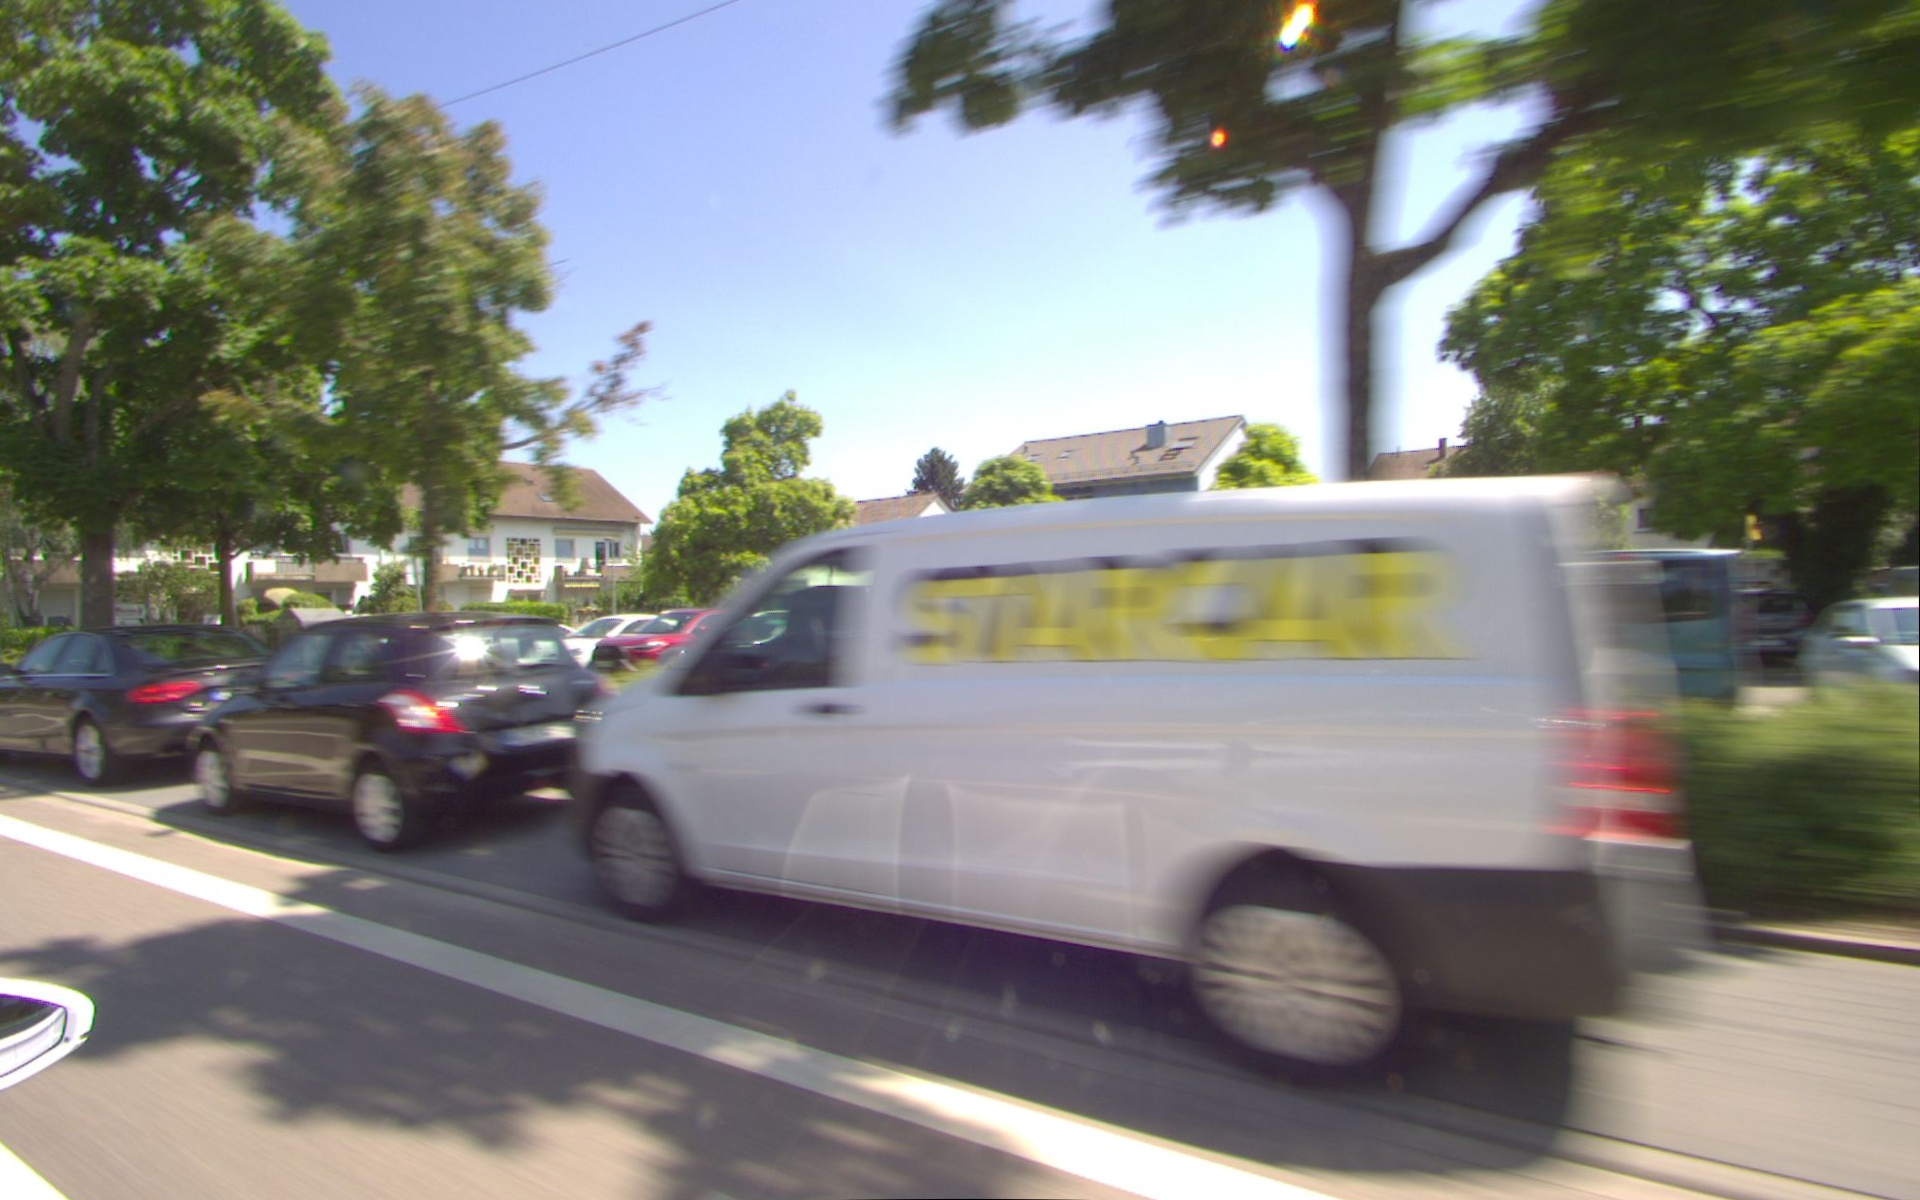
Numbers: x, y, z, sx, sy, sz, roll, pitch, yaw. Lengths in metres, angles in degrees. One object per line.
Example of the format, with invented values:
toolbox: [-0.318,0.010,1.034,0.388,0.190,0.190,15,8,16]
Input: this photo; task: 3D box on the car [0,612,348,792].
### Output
car: [-8.573,0.909,10.402,4.638,1.438,1.709,-1,3,30]

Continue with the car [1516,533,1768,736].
car: [7.824,0.409,11.935,1.924,1.933,4.405,-1,-2,27]

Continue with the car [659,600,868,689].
car: [-3.621,0.829,19.148,1.743,1.509,4.017,-1,-2,30]

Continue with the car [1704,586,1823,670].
car: [17.030,0.529,21.357,1.659,1.567,3.325,-1,2,33]

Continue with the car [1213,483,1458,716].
car: [5.310,0.098,13.594,2.065,2.490,5.481,-1,-2,32]

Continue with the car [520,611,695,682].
car: [-7.683,1.001,22.064,1.658,1.446,3.329,-1,-2,32]

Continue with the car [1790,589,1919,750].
car: [10.102,0.665,10.192,1.700,1.424,3.886,-1,-2,27]

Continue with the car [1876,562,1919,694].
car: [19.546,0.507,19.124,2.065,2.493,5.476,-1,2,32]

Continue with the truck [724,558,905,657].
truck: [-4.889,0.142,35.171,2.389,3.127,6.932,-1,2,31]

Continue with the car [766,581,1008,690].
car: [-1.122,0.632,17.874,1.926,1.665,4.685,-1,-2,32]

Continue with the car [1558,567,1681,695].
car: [14.791,0.559,22.621,2.065,2.493,5.476,-1,2,32]

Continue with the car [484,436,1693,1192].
car: [0.197,0.528,4.772,5.202,1.904,1.991,-1,3,34]

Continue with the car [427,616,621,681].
car: [-10.073,1.107,23.400,1.745,1.375,3.853,-1,-2,32]

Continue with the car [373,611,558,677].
car: [-12.234,1.086,25.000,1.743,1.508,3.857,-1,-2,29]

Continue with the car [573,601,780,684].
car: [-5.682,0.855,20.543,1.743,1.509,4.017,-1,-2,30]

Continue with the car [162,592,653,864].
car: [-4.336,0.780,7.725,3.786,1.562,1.707,-1,3,34]

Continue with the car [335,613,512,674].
car: [-14.180,1.139,26.676,1.743,1.508,3.857,-1,-2,29]
